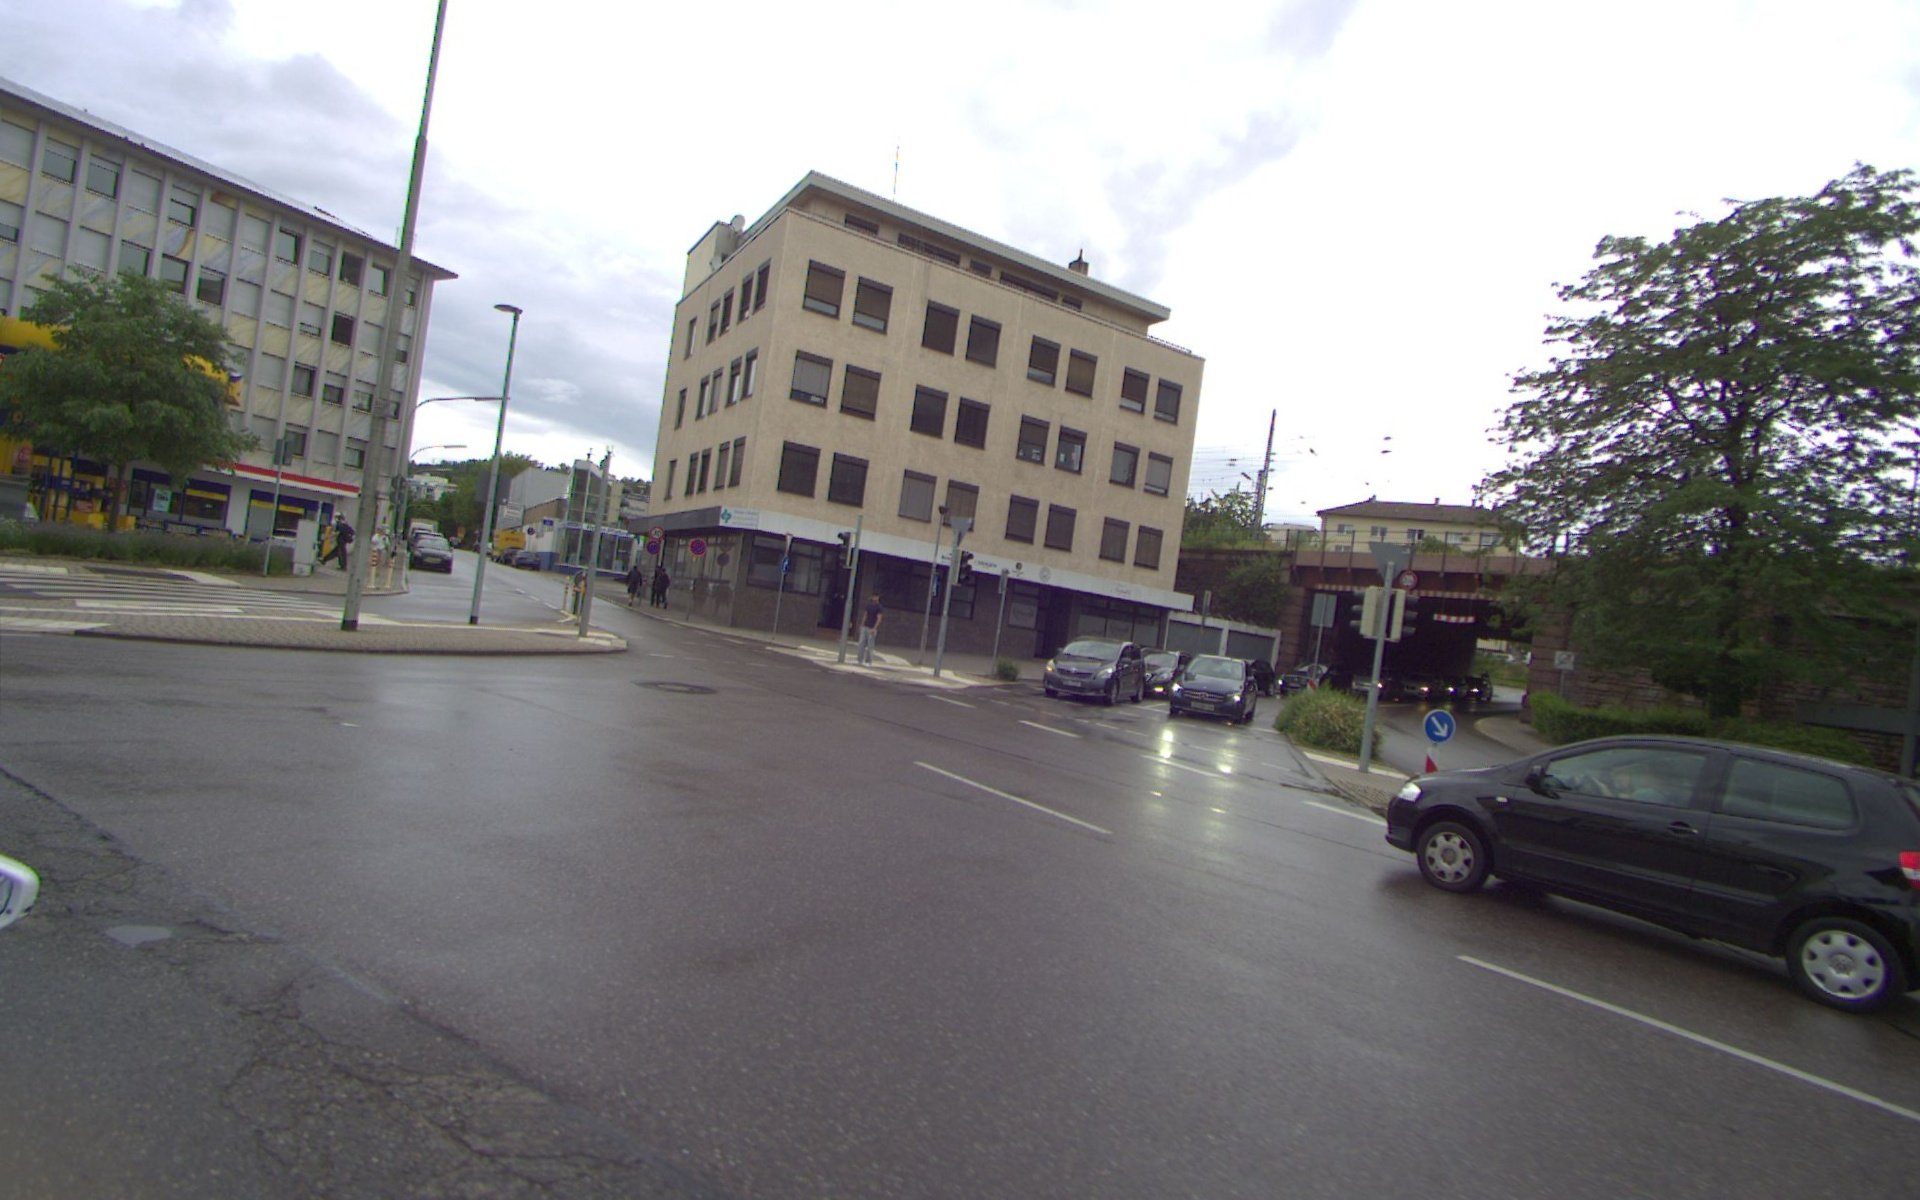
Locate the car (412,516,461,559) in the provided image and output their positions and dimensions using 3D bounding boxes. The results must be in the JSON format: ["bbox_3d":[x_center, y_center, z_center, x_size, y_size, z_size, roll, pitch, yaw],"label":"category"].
[{"bbox_3d":[-29.408,-3.448,56.421,1.980,1.885,4.546,10,-4,-30],"label":"car"}]

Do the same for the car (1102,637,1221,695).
[{"bbox_3d":[6.468,2.136,31.920,1.968,1.462,4.472,7,0,34],"label":"car"}]

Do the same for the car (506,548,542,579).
[{"bbox_3d":[-34.040,-2.846,78.502,1.979,2.035,3.974,10,-3,-28],"label":"car"}]

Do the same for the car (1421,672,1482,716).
[{"bbox_3d":[28.908,5.554,59.137,1.974,2.035,3.984,6,-4,43],"label":"car"}]

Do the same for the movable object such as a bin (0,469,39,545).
[{"bbox_3d":[-21.962,-2.178,22.021,1.743,1.574,2.158,6,0,31],"label":"movable object such as a bin"}]

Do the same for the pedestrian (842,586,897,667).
[{"bbox_3d":[-2.213,0.657,24.688,0.761,1.811,0.859,7,-3,27],"label":"pedestrian"}]

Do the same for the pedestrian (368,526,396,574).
[{"bbox_3d":[-19.778,-1.691,34.444,0.472,1.531,0.574,8,-2,-10],"label":"pedestrian"}]

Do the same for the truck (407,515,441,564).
[{"bbox_3d":[-49.257,-5.498,92.393,1.980,3.956,5.445,9,-3,-30],"label":"truck"}]

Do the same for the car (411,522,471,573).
[{"bbox_3d":[-23.816,-2.337,46.092,1.980,1.885,4.546,10,-4,-30],"label":"car"}]

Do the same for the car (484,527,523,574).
[{"bbox_3d":[-41.066,-4.399,90.386,2.360,3.728,4.959,9,-3,-29],"label":"car"}]

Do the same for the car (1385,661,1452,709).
[{"bbox_3d":[24.983,4.632,54.721,1.974,2.035,3.984,6,-4,43],"label":"car"}]

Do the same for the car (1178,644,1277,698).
[{"bbox_3d":[10.772,2.861,40.397,3.980,1.602,1.976,11,-4,-44],"label":"car"}]

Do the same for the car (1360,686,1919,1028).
[{"bbox_3d":[5.299,1.755,7.654,1.668,1.509,3.704,11,-3,-39],"label":"car"}]

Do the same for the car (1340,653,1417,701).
[{"bbox_3d":[20.956,3.881,50.306,3.980,1.802,1.976,11,-4,-44],"label":"car"}]

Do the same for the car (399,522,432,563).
[{"bbox_3d":[-46.361,-4.816,85.600,1.980,3.006,4.546,9,-3,-30],"label":"car"}]

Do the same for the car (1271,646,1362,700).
[{"bbox_3d":[15.810,3.256,44.521,4.143,1.802,1.976,11,-4,-44],"label":"car"}]

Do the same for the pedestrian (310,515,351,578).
[{"bbox_3d":[-27.586,-2.334,44.087,1.004,2.595,1.134,10,-3,-45],"label":"pedestrian"}]

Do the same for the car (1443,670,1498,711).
[{"bbox_3d":[32.610,5.797,64.197,1.974,2.035,3.984,6,-4,43],"label":"car"}]

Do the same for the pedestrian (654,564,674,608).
[{"bbox_3d":[-12.239,-0.589,41.583,0.475,1.761,0.571,9,-2,-29],"label":"pedestrian"}]

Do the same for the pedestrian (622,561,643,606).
[{"bbox_3d":[-13.559,-0.686,41.623,0.475,1.761,0.571,9,-2,-29],"label":"pedestrian"}]

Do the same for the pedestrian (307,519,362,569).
[{"bbox_3d":[-20.332,-1.807,32.718,1.095,1.367,0.917,9,-2,-10],"label":"pedestrian"}]

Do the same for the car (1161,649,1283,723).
[{"bbox_3d":[6.769,2.136,25.621,1.965,1.462,4.479,7,0,27],"label":"car"}]

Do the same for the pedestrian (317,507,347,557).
[{"bbox_3d":[-23.766,-2.550,38.080,0.674,1.777,0.725,9,-3,-36],"label":"pedestrian"}]

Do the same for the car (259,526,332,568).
[{"bbox_3d":[-32.059,-2.517,48.662,1.973,1.533,4.399,6,-2,-22],"label":"car"}]

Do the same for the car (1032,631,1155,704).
[{"bbox_3d":[3.568,1.717,26.105,1.963,1.462,4.483,7,0,22],"label":"car"}]
